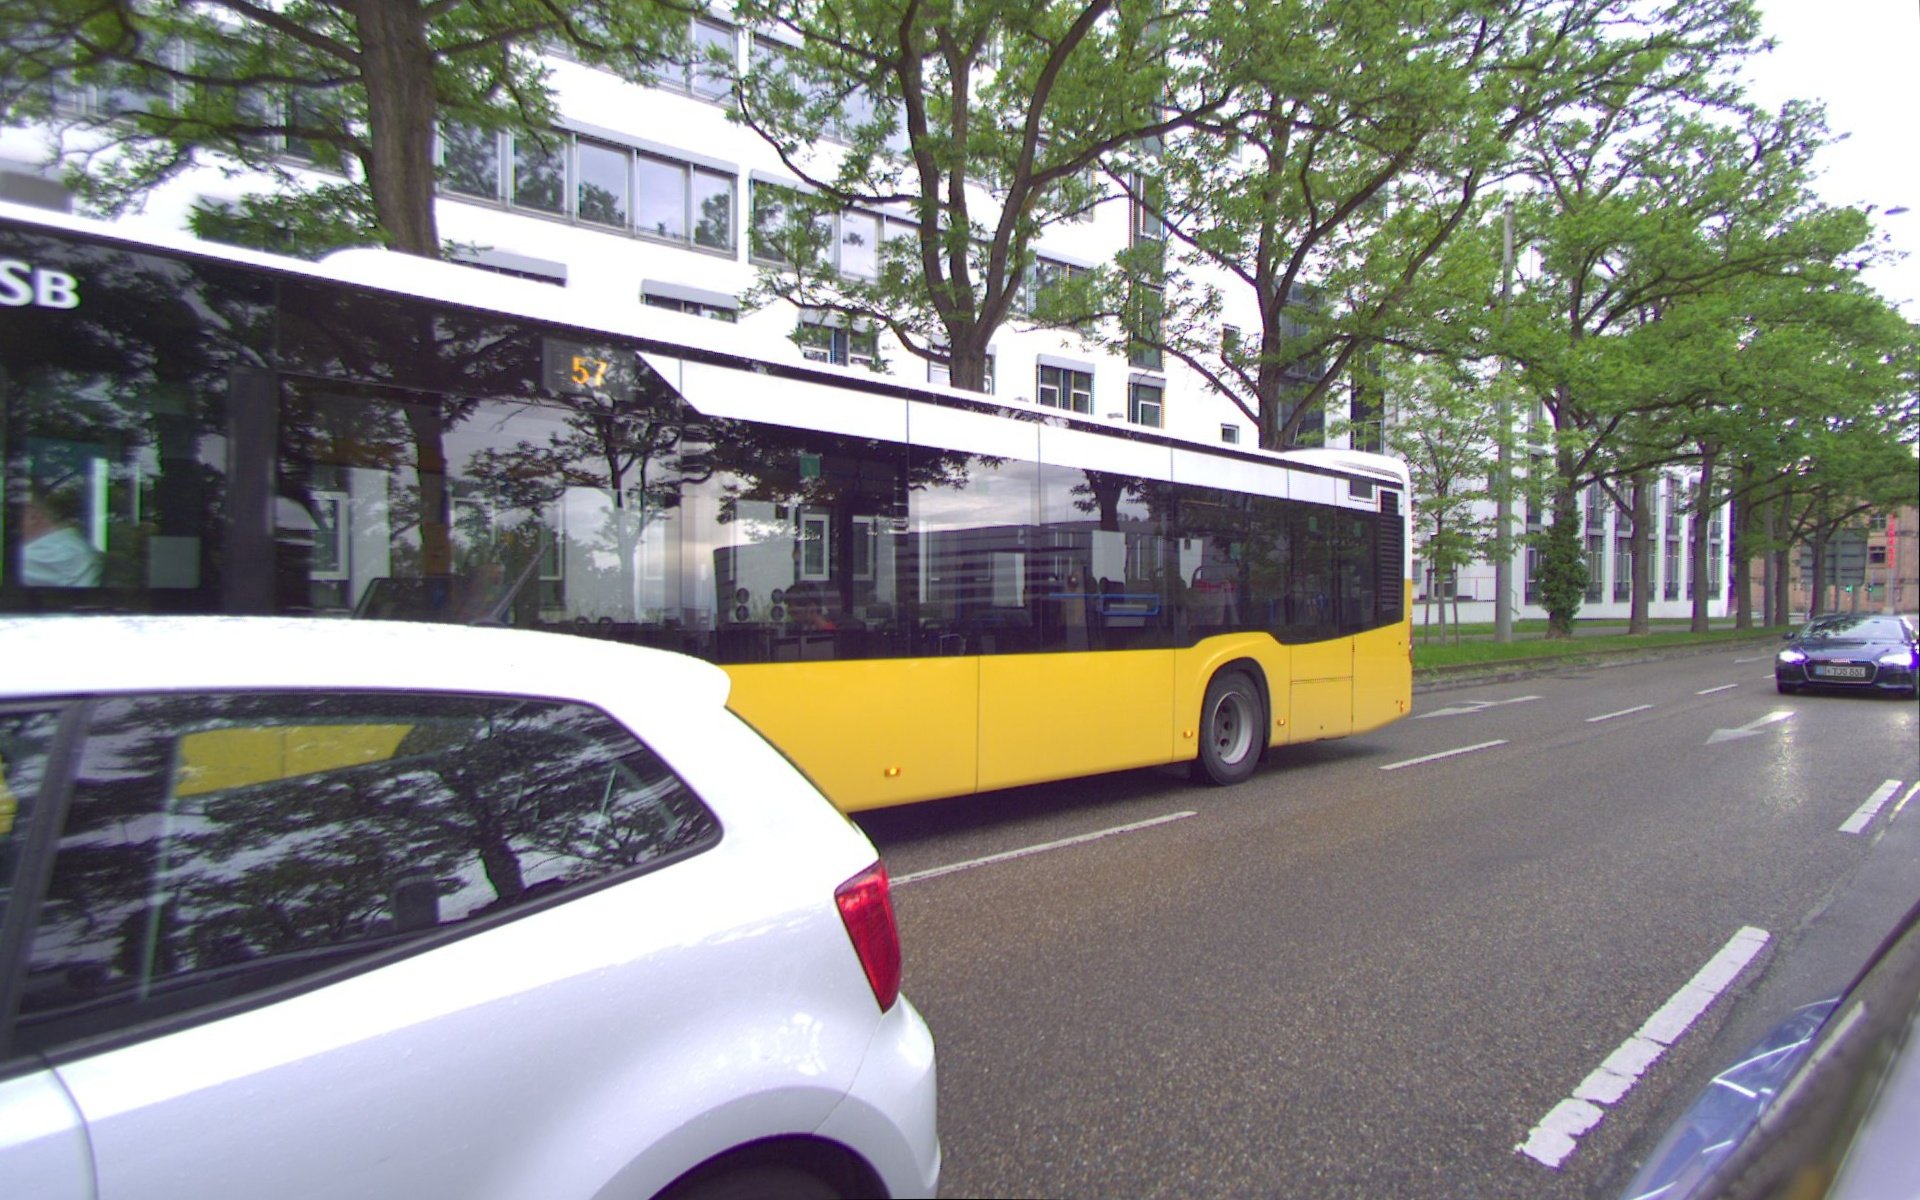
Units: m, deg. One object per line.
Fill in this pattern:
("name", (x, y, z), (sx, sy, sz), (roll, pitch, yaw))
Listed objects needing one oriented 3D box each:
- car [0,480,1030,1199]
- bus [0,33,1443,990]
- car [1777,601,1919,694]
("car", (-1.848, 0.625, 1.371), (3.745, 1.450, 1.743), (-1, 0, -41))
("bus", (-0.369, -0.269, 7.657), (11.933, 3.192, 2.731), (0, -1, -41))
("car", (15.889, 0.749, 17.607), (4.257, 1.371, 1.876), (-1, 0, -41))
